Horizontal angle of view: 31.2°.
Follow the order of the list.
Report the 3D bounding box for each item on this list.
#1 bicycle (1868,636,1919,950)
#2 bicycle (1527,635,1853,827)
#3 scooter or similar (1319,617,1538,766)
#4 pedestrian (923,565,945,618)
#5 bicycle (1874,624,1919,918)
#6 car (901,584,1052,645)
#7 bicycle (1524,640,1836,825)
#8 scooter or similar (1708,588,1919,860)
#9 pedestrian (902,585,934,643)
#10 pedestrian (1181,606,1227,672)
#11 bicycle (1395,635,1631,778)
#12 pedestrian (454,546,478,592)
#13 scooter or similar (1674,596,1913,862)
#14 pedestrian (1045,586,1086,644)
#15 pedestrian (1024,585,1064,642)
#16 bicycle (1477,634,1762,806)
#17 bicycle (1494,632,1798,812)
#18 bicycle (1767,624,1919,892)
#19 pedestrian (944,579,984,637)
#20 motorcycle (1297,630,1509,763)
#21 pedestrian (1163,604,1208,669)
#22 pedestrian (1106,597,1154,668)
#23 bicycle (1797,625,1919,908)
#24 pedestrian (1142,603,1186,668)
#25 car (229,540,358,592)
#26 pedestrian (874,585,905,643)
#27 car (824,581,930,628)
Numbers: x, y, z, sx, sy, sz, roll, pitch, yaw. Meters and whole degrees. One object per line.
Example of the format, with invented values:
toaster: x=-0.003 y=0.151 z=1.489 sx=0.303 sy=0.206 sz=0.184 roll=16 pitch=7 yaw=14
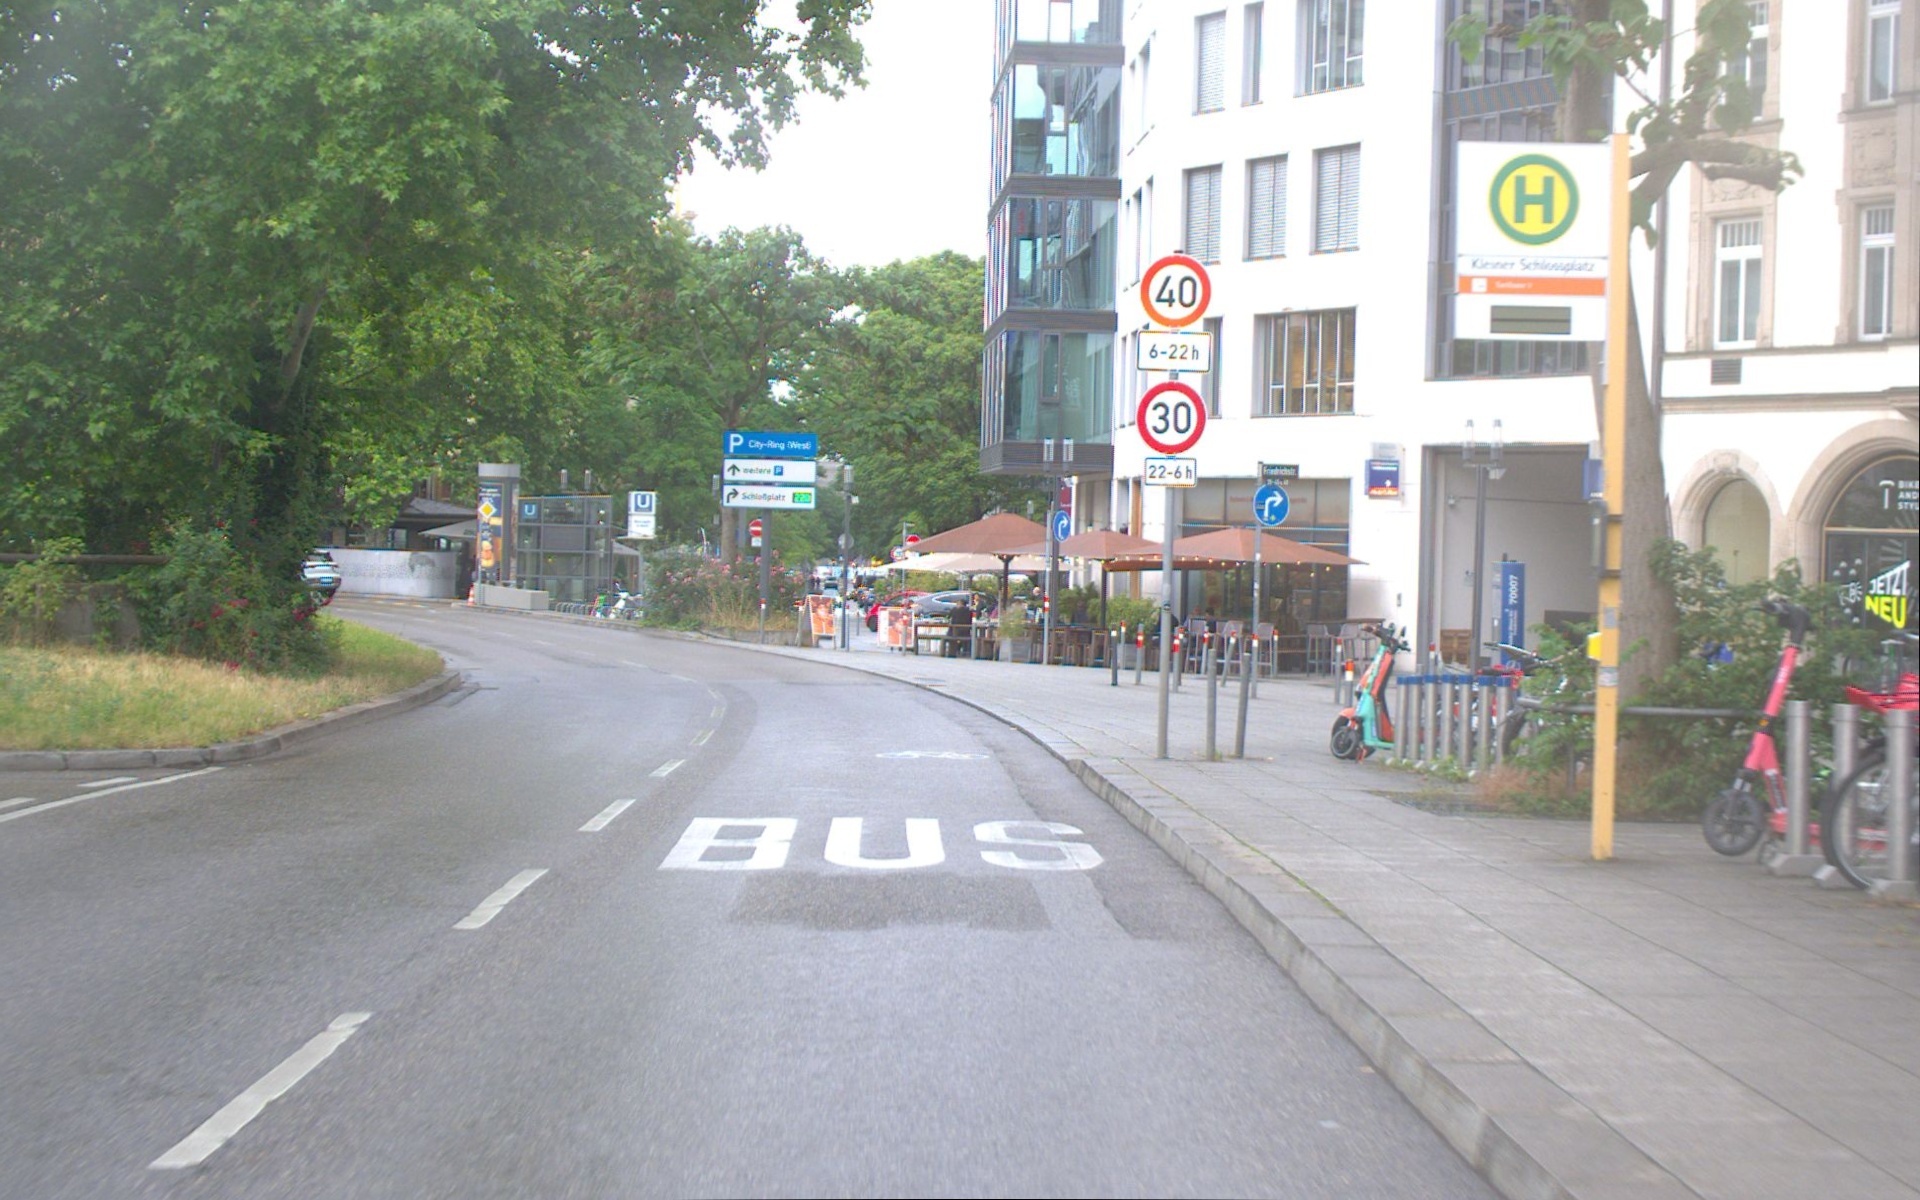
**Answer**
bicycle: x=4.318 y=0.721 z=12.707 sx=1.705 sy=1.136 sz=0.689 roll=1 pitch=-1 yaw=-7
bicycle: x=4.405 y=0.786 z=20.779 sx=1.794 sy=1.064 sz=0.556 roll=3 pitch=-1 yaw=-6
scooter or similar: x=4.191 y=0.819 z=30.794 sx=1.791 sy=1.239 sz=0.596 roll=3 pitch=-1 yaw=-6
pedestrian: x=-0.948 y=-0.317 z=125.985 sx=0.624 sy=1.926 sz=0.787 roll=2 pitch=0 yaw=5
bicycle: x=4.473 y=0.682 z=13.508 sx=1.534 sy=1.136 sz=0.689 roll=1 pitch=-1 yaw=-7
car: x=0.506 y=0.458 z=111.025 sx=4.734 sy=1.685 sz=2.005 roll=3 pitch=1 yaw=-2
bicycle: x=4.524 y=0.831 z=21.641 sx=1.794 sy=1.064 sz=0.556 roll=3 pitch=-1 yaw=-6
scooter or similar: x=4.135 y=0.587 z=16.255 sx=1.105 sy=1.253 sz=0.302 roll=1 pitch=-1 yaw=-8
pedestrian: x=-0.987 y=0.332 z=80.455 sx=0.606 sy=1.322 sz=0.567 roll=4 pitch=0 yaw=-5
pedestrian: x=5.063 y=0.805 z=71.360 sx=0.626 sy=1.322 sz=0.636 roll=4 pitch=0 yaw=-26
bicycle: x=4.631 y=0.888 z=28.838 sx=1.794 sy=1.104 sz=0.670 roll=3 pitch=-1 yaw=-7
pedestrian: x=-18.241 y=-1.144 z=126.940 sx=0.722 sy=1.696 sz=0.618 roll=1 pitch=0 yaw=6
scooter or similar: x=4.027 y=0.622 z=16.614 sx=1.060 sy=1.253 sz=0.302 roll=1 pitch=-1 yaw=-8
pedestrian: x=2.518 y=0.362 z=82.127 sx=0.817 sy=1.322 sz=0.636 roll=4 pitch=0 yaw=-5
pedestrian: x=2.026 y=0.331 z=82.957 sx=0.817 sy=1.322 sz=0.636 roll=4 pitch=0 yaw=-5
bicycle: x=4.617 y=0.833 z=24.118 sx=1.794 sy=1.104 sz=0.670 roll=3 pitch=-1 yaw=-7
bicycle: x=4.431 y=0.787 z=22.242 sx=1.794 sy=1.064 sz=0.556 roll=3 pitch=-1 yaw=-6
bicycle: x=4.412 y=0.694 z=15.098 sx=1.534 sy=1.136 sz=0.662 roll=1 pitch=-1 yaw=-7
pedestrian: x=0.097 y=0.195 z=82.343 sx=0.817 sy=1.322 sz=0.636 roll=4 pitch=0 yaw=-5
motorcycle: x=4.081 y=0.886 z=31.717 sx=1.791 sy=1.136 sz=0.596 roll=3 pitch=-1 yaw=-6
pedestrian: x=4.738 y=0.763 z=72.163 sx=0.626 sy=1.322 sz=0.636 roll=4 pitch=0 yaw=-26
pedestrian: x=3.315 y=0.635 z=67.069 sx=0.773 sy=1.322 sz=0.636 roll=4 pitch=0 yaw=-6
bicycle: x=4.353 y=0.691 z=14.281 sx=1.534 sy=1.136 sz=0.689 roll=1 pitch=-1 yaw=-7
pedestrian: x=4.355 y=0.754 z=73.524 sx=0.626 sy=1.322 sz=0.636 roll=4 pitch=0 yaw=-26
car: x=-22.778 y=-1.171 z=117.418 sx=4.341 sy=1.661 sz=1.949 roll=2 pitch=0 yaw=39
pedestrian: x=-1.654 y=0.328 z=80.447 sx=0.606 sy=1.322 sz=0.567 roll=4 pitch=0 yaw=-5
car: x=-2.909 y=0.141 z=119.737 sx=3.527 sy=1.411 sz=1.610 roll=4 pitch=0 yaw=45
